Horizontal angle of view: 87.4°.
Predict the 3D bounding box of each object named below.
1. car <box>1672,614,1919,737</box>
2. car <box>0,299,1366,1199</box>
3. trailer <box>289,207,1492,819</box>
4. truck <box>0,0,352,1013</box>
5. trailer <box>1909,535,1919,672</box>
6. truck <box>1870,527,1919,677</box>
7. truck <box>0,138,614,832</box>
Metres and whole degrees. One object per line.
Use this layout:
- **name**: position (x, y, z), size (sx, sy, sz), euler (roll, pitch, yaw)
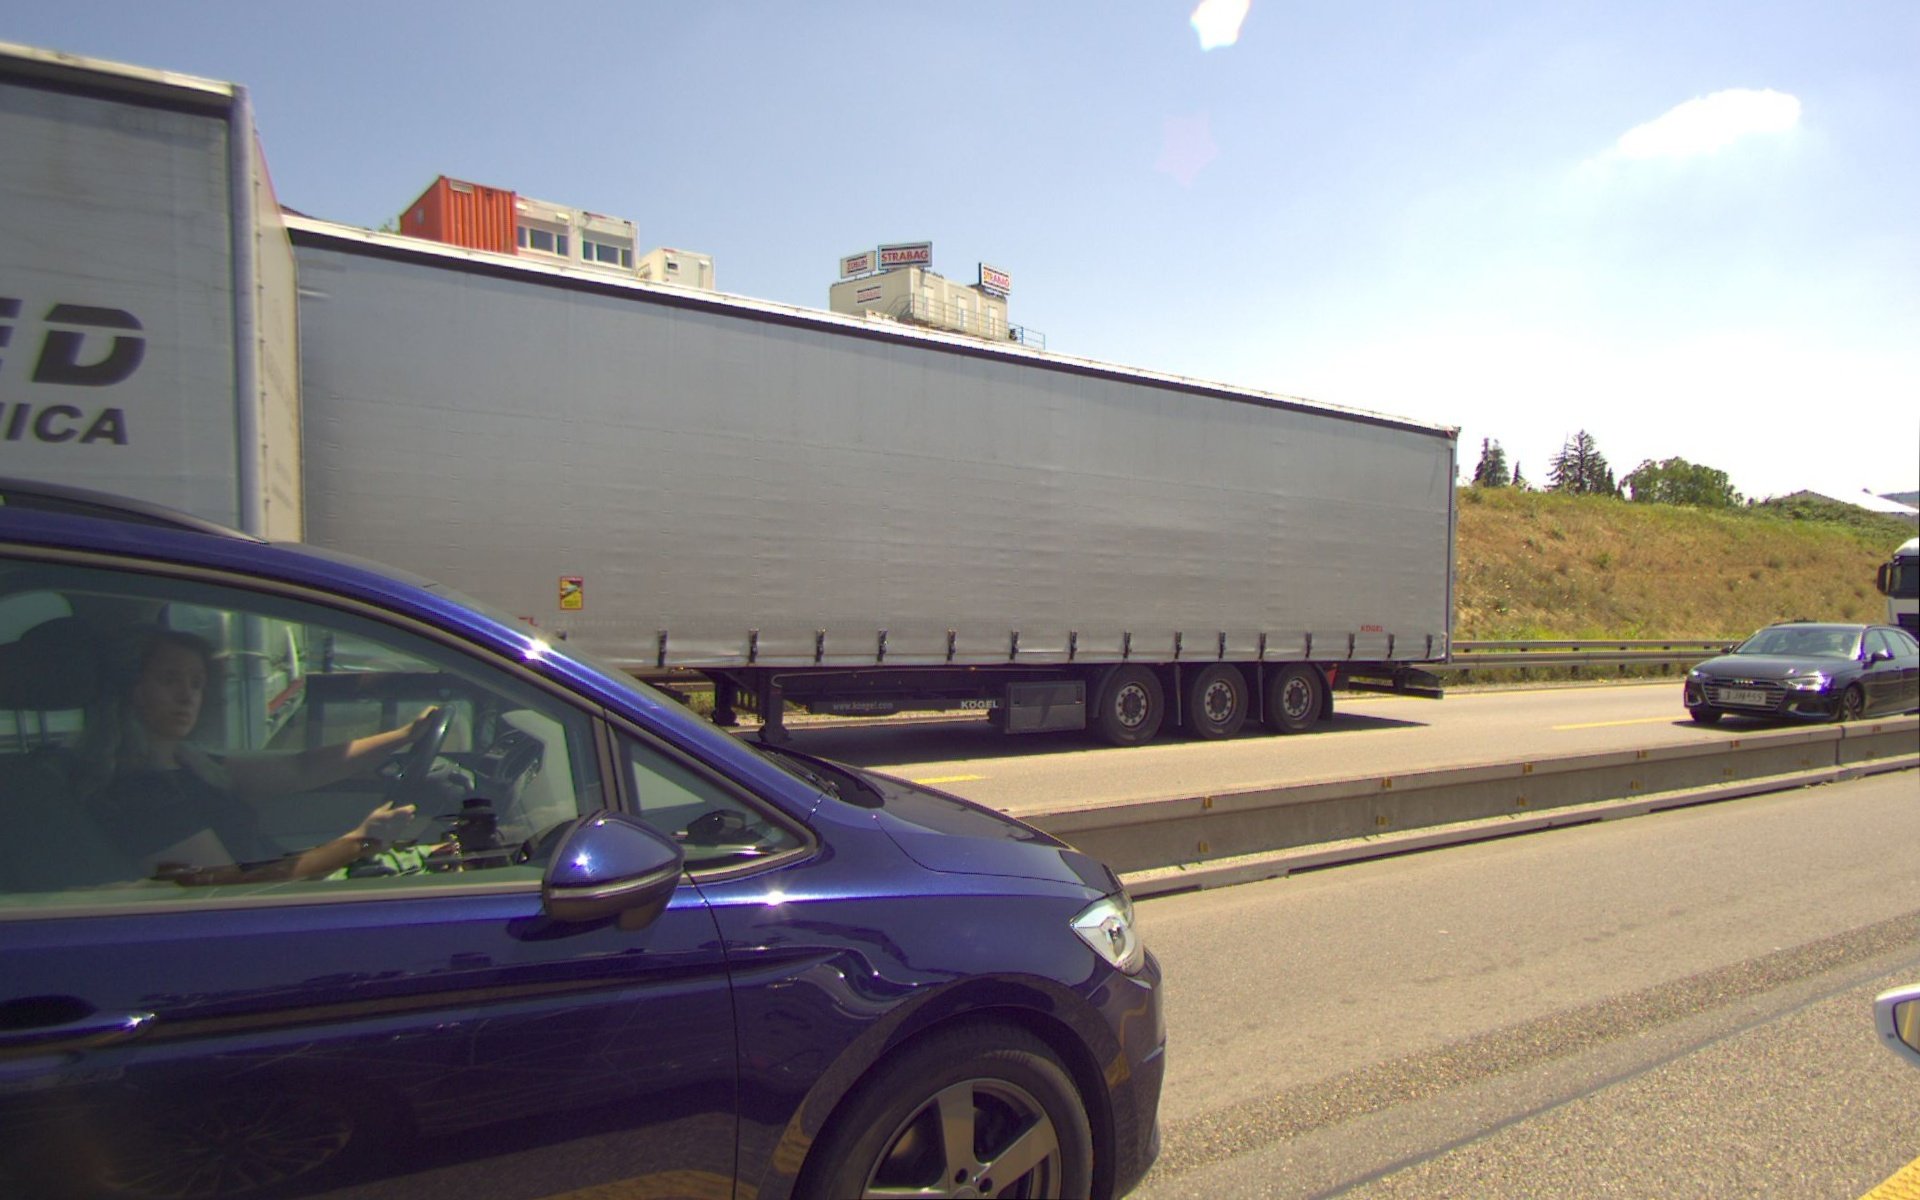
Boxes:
- **car**: position (12.426, 0.998, 14.496), size (4.666, 1.477, 1.770), euler (1, 1, -31)
- **car**: position (-1.434, 0.500, 2.062), size (4.597, 1.741, 1.767), euler (0, 1, -30)
- **trailer**: position (0.695, -0.504, 11.337), size (13.542, 4.078, 2.684), euler (1, 1, -31)
- **truck**: position (-6.246, -0.526, 3.201), size (7.273, 3.809, 2.576), euler (1, 1, -31)
- **trailer**: position (32.436, 0.192, 30.077), size (11.777, 3.853, 2.577), euler (1, 1, -30)
- **truck**: position (26.522, 0.080, 26.568), size (3.722, 3.853, 2.578), euler (1, 1, -30)
- **truck**: position (-5.037, -0.672, 7.907), size (3.909, 4.104, 2.685), euler (1, 1, -30)
